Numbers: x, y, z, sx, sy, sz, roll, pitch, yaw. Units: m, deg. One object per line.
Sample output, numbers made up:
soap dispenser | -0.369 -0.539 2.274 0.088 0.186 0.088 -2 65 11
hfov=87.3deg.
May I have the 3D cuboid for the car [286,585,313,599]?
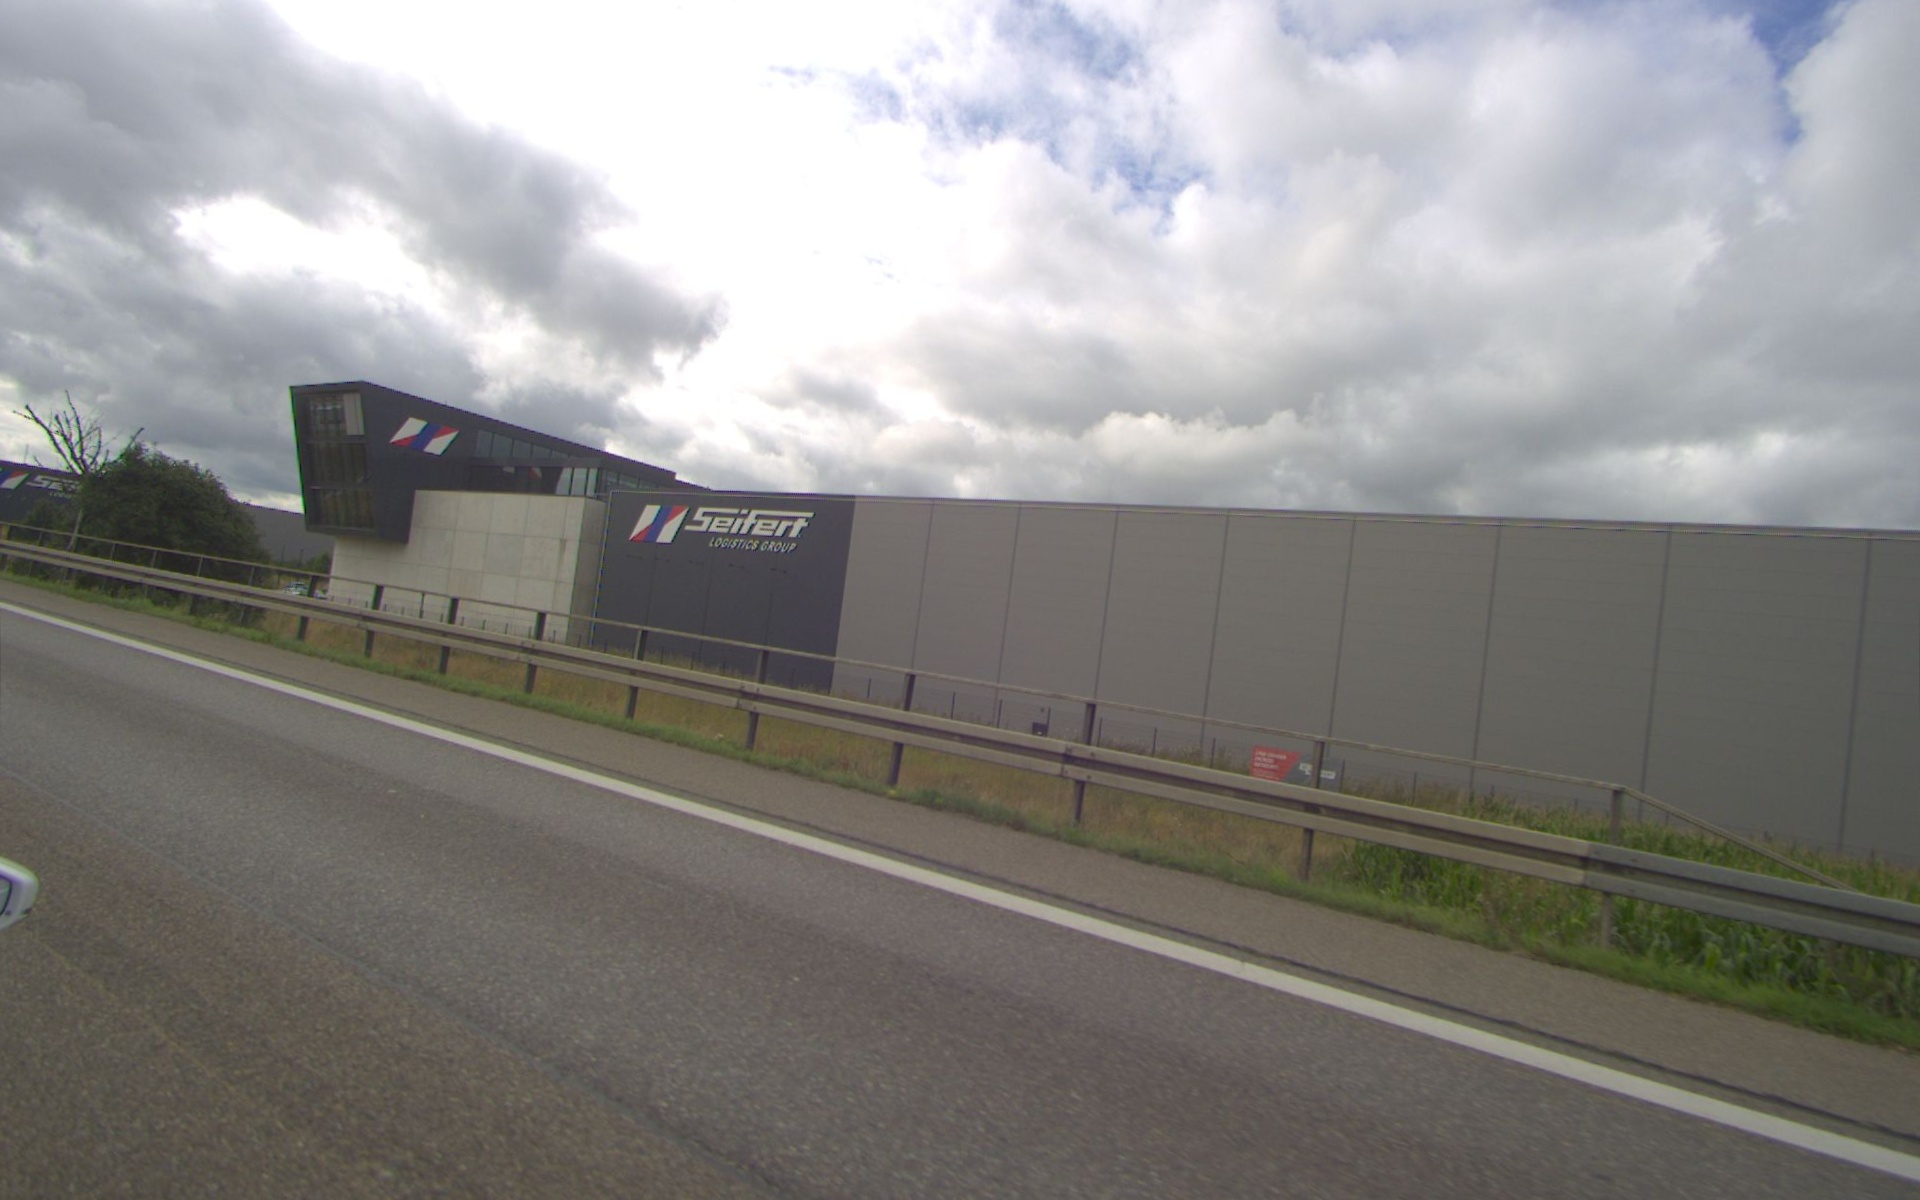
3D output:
car | -95.752 -1.141 145.837 3.933 1.510 1.680 7 -4 31
